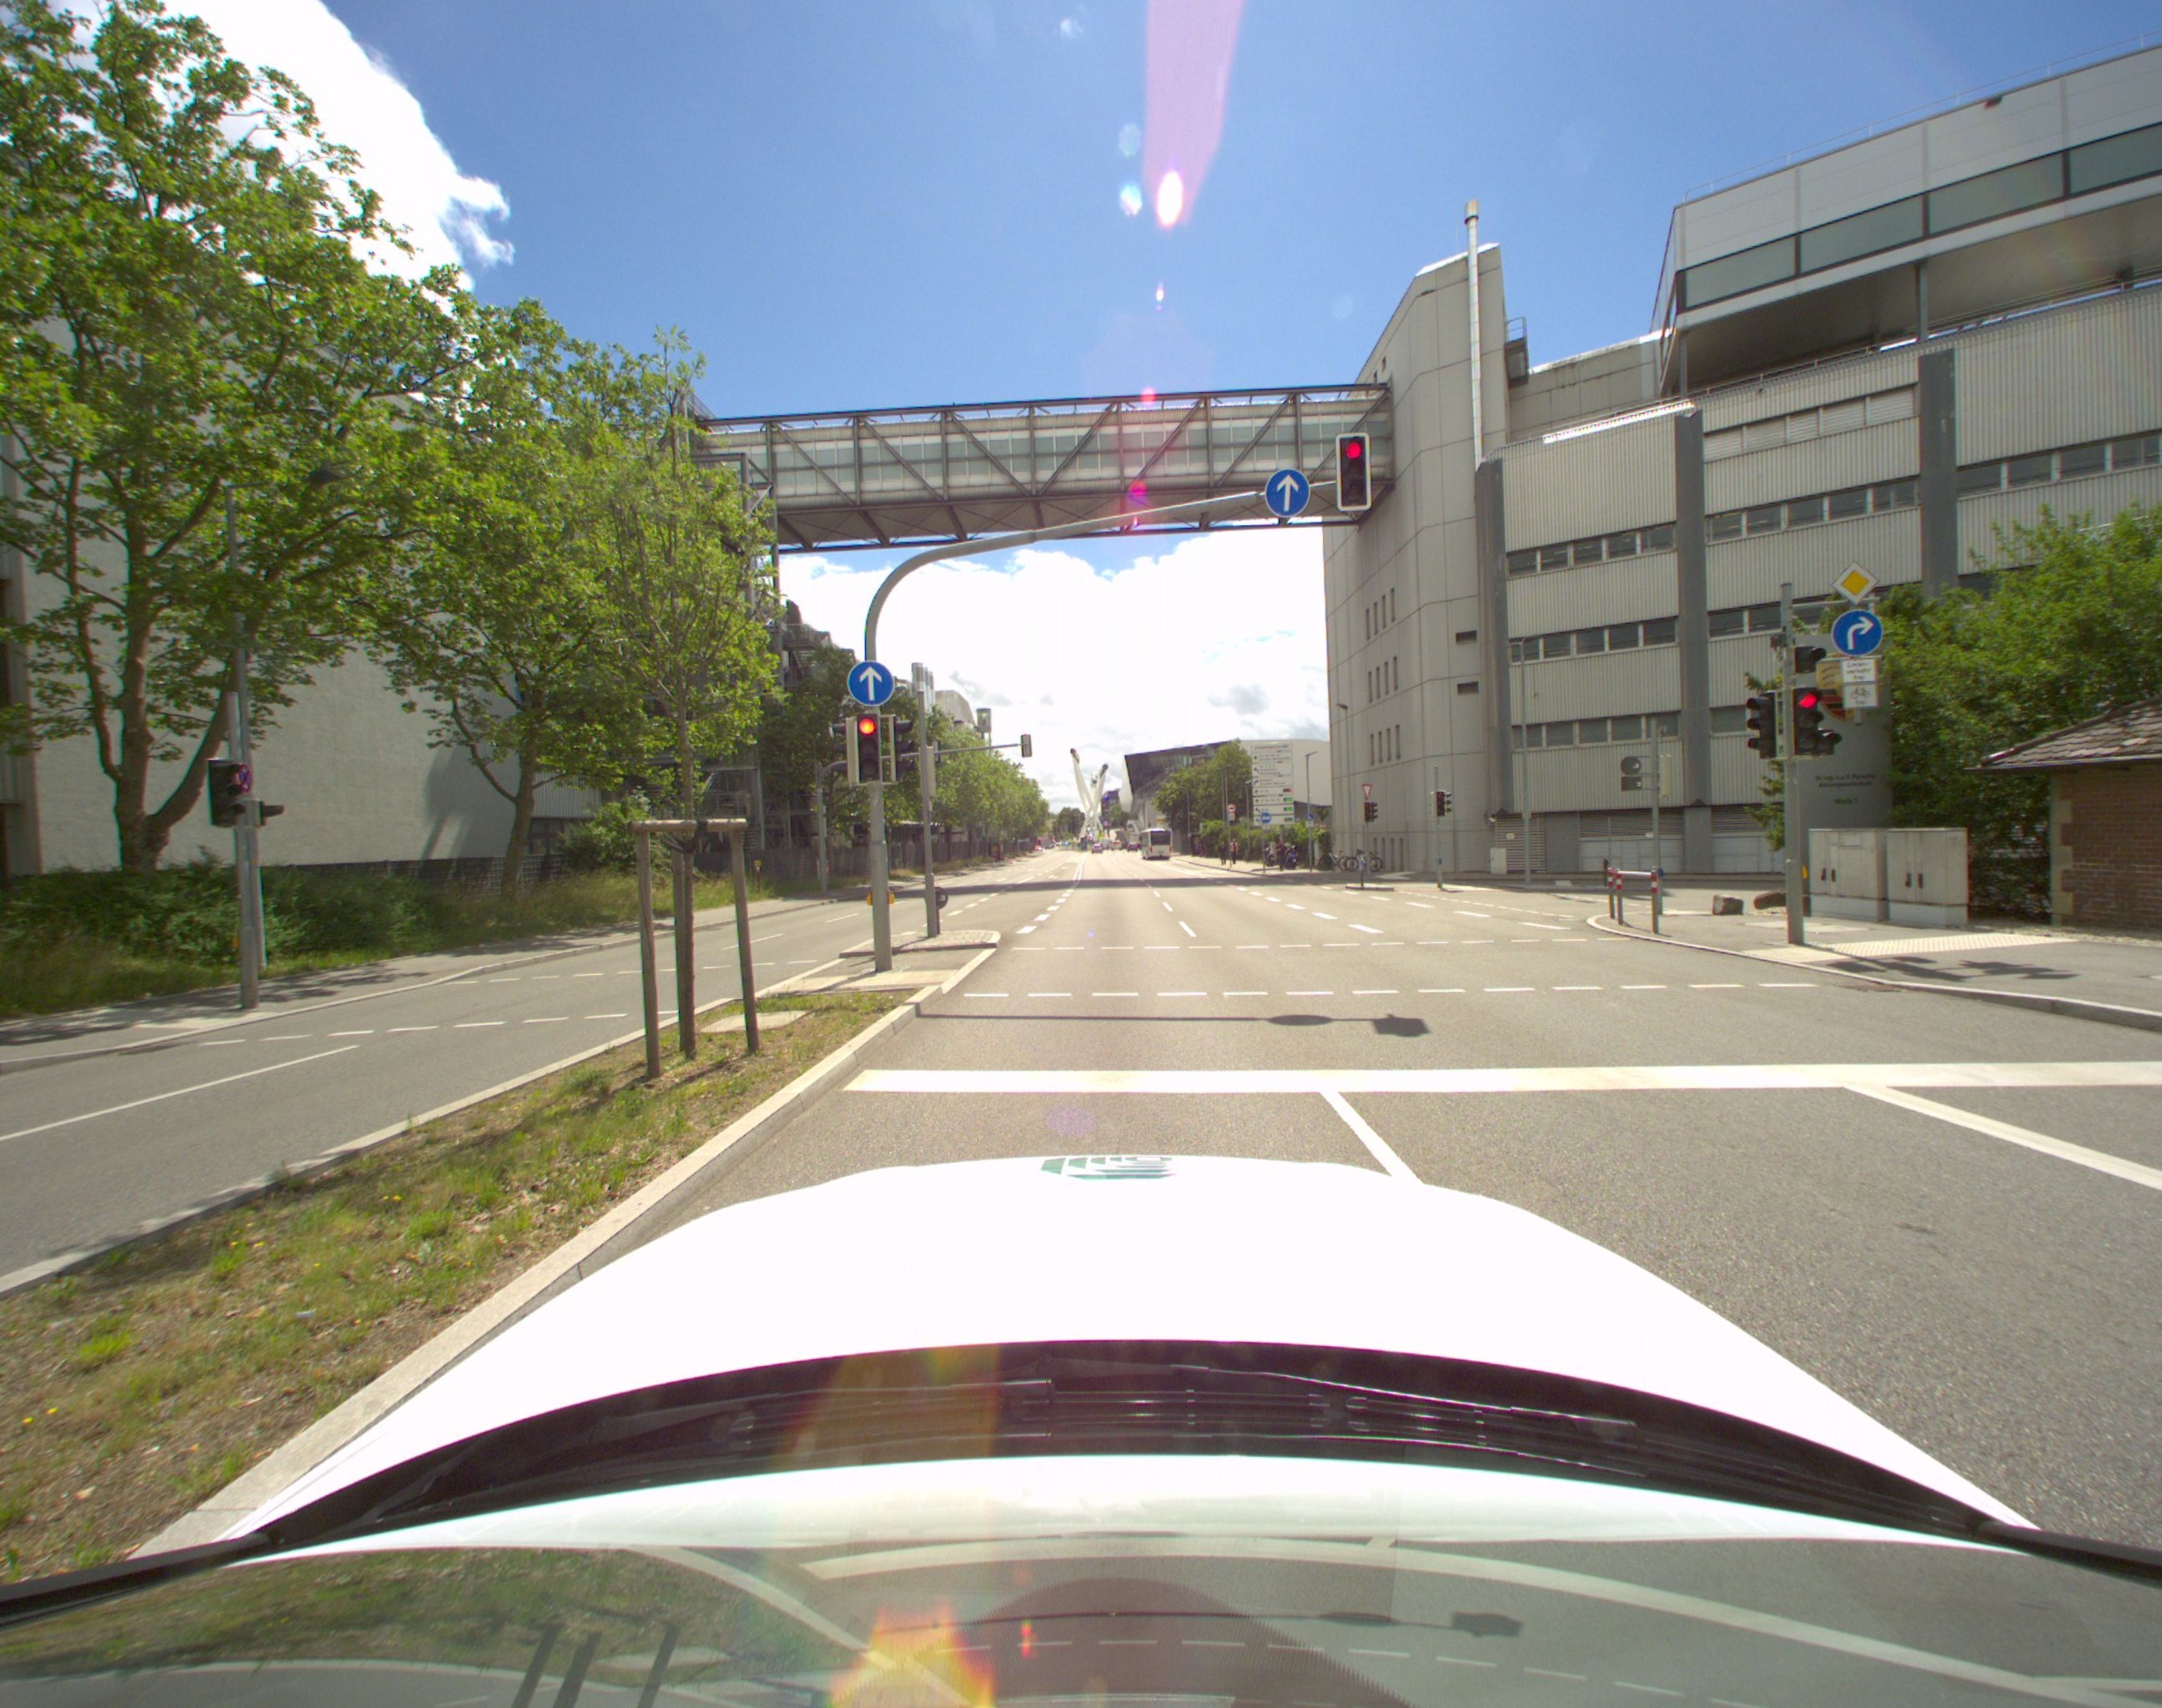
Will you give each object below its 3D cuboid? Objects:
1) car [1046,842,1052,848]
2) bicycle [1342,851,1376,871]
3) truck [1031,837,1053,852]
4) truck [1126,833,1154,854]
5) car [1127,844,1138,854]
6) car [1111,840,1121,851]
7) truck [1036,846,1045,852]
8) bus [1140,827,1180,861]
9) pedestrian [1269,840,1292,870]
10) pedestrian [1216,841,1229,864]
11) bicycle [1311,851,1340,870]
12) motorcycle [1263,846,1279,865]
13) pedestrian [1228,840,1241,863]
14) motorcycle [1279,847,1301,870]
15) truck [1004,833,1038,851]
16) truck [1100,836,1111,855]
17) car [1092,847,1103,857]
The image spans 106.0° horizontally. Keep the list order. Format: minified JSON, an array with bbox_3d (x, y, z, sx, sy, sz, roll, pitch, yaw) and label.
[{"bbox_3d":[-8.848,-2.400,224.605,1.579,1.537,3.675,-1,0,-3],"label":"car"},{"bbox_3d":[13.489,0.317,39.569,0.399,0.937,1.913,-1,0,-24],"label":"bicycle"},{"bbox_3d":[-11.413,-2.738,237.238,2.453,3.894,7.125,-1,-1,35],"label":"truck"},{"bbox_3d":[12.541,-2.190,172.495,3.424,4.391,9.466,-1,0,19],"label":"truck"},{"bbox_3d":[9.232,-0.855,146.443,1.732,1.741,3.693,-1,0,2],"label":"car"},{"bbox_3d":[7.019,-1.683,165.256,1.986,2.014,4.002,0,-1,2],"label":"car"},{"bbox_3d":[-9.963,-1.220,200.142,1.583,1.537,3.665,-1,0,-11],"label":"truck"},{"bbox_3d":[8.691,-1.051,90.621,3.441,3.543,10.606,-1,0,1],"label":"bus"},{"bbox_3d":[11.029,0.064,45.050,0.839,1.624,0.962,-1,0,43],"label":"pedestrian"},{"bbox_3d":[10.498,-0.109,60.592,0.817,1.707,0.881,-1,0,1],"label":"pedestrian"},{"bbox_3d":[12.545,0.335,41.880,0.398,0.937,1.917,-1,0,-17],"label":"bicycle"},{"bbox_3d":[12.528,0.082,53.671,0.572,1.203,2.025,-3,1,2],"label":"motorcycle"},{"bbox_3d":[11.458,-0.184,60.720,0.817,1.741,0.637,-1,0,1],"label":"pedestrian"},{"bbox_3d":[11.717,0.225,45.767,0.704,1.203,2.025,-3,1,2],"label":"motorcycle"},{"bbox_3d":[-15.936,-3.112,216.487,3.531,4.324,12.235,-1,-1,24],"label":"truck"},{"bbox_3d":[5.233,-1.768,173.318,2.383,3.897,6.180,-1,0,2],"label":"truck"},{"bbox_3d":[2.798,-0.330,136.227,1.732,1.741,3.693,-1,0,2],"label":"car"}]
